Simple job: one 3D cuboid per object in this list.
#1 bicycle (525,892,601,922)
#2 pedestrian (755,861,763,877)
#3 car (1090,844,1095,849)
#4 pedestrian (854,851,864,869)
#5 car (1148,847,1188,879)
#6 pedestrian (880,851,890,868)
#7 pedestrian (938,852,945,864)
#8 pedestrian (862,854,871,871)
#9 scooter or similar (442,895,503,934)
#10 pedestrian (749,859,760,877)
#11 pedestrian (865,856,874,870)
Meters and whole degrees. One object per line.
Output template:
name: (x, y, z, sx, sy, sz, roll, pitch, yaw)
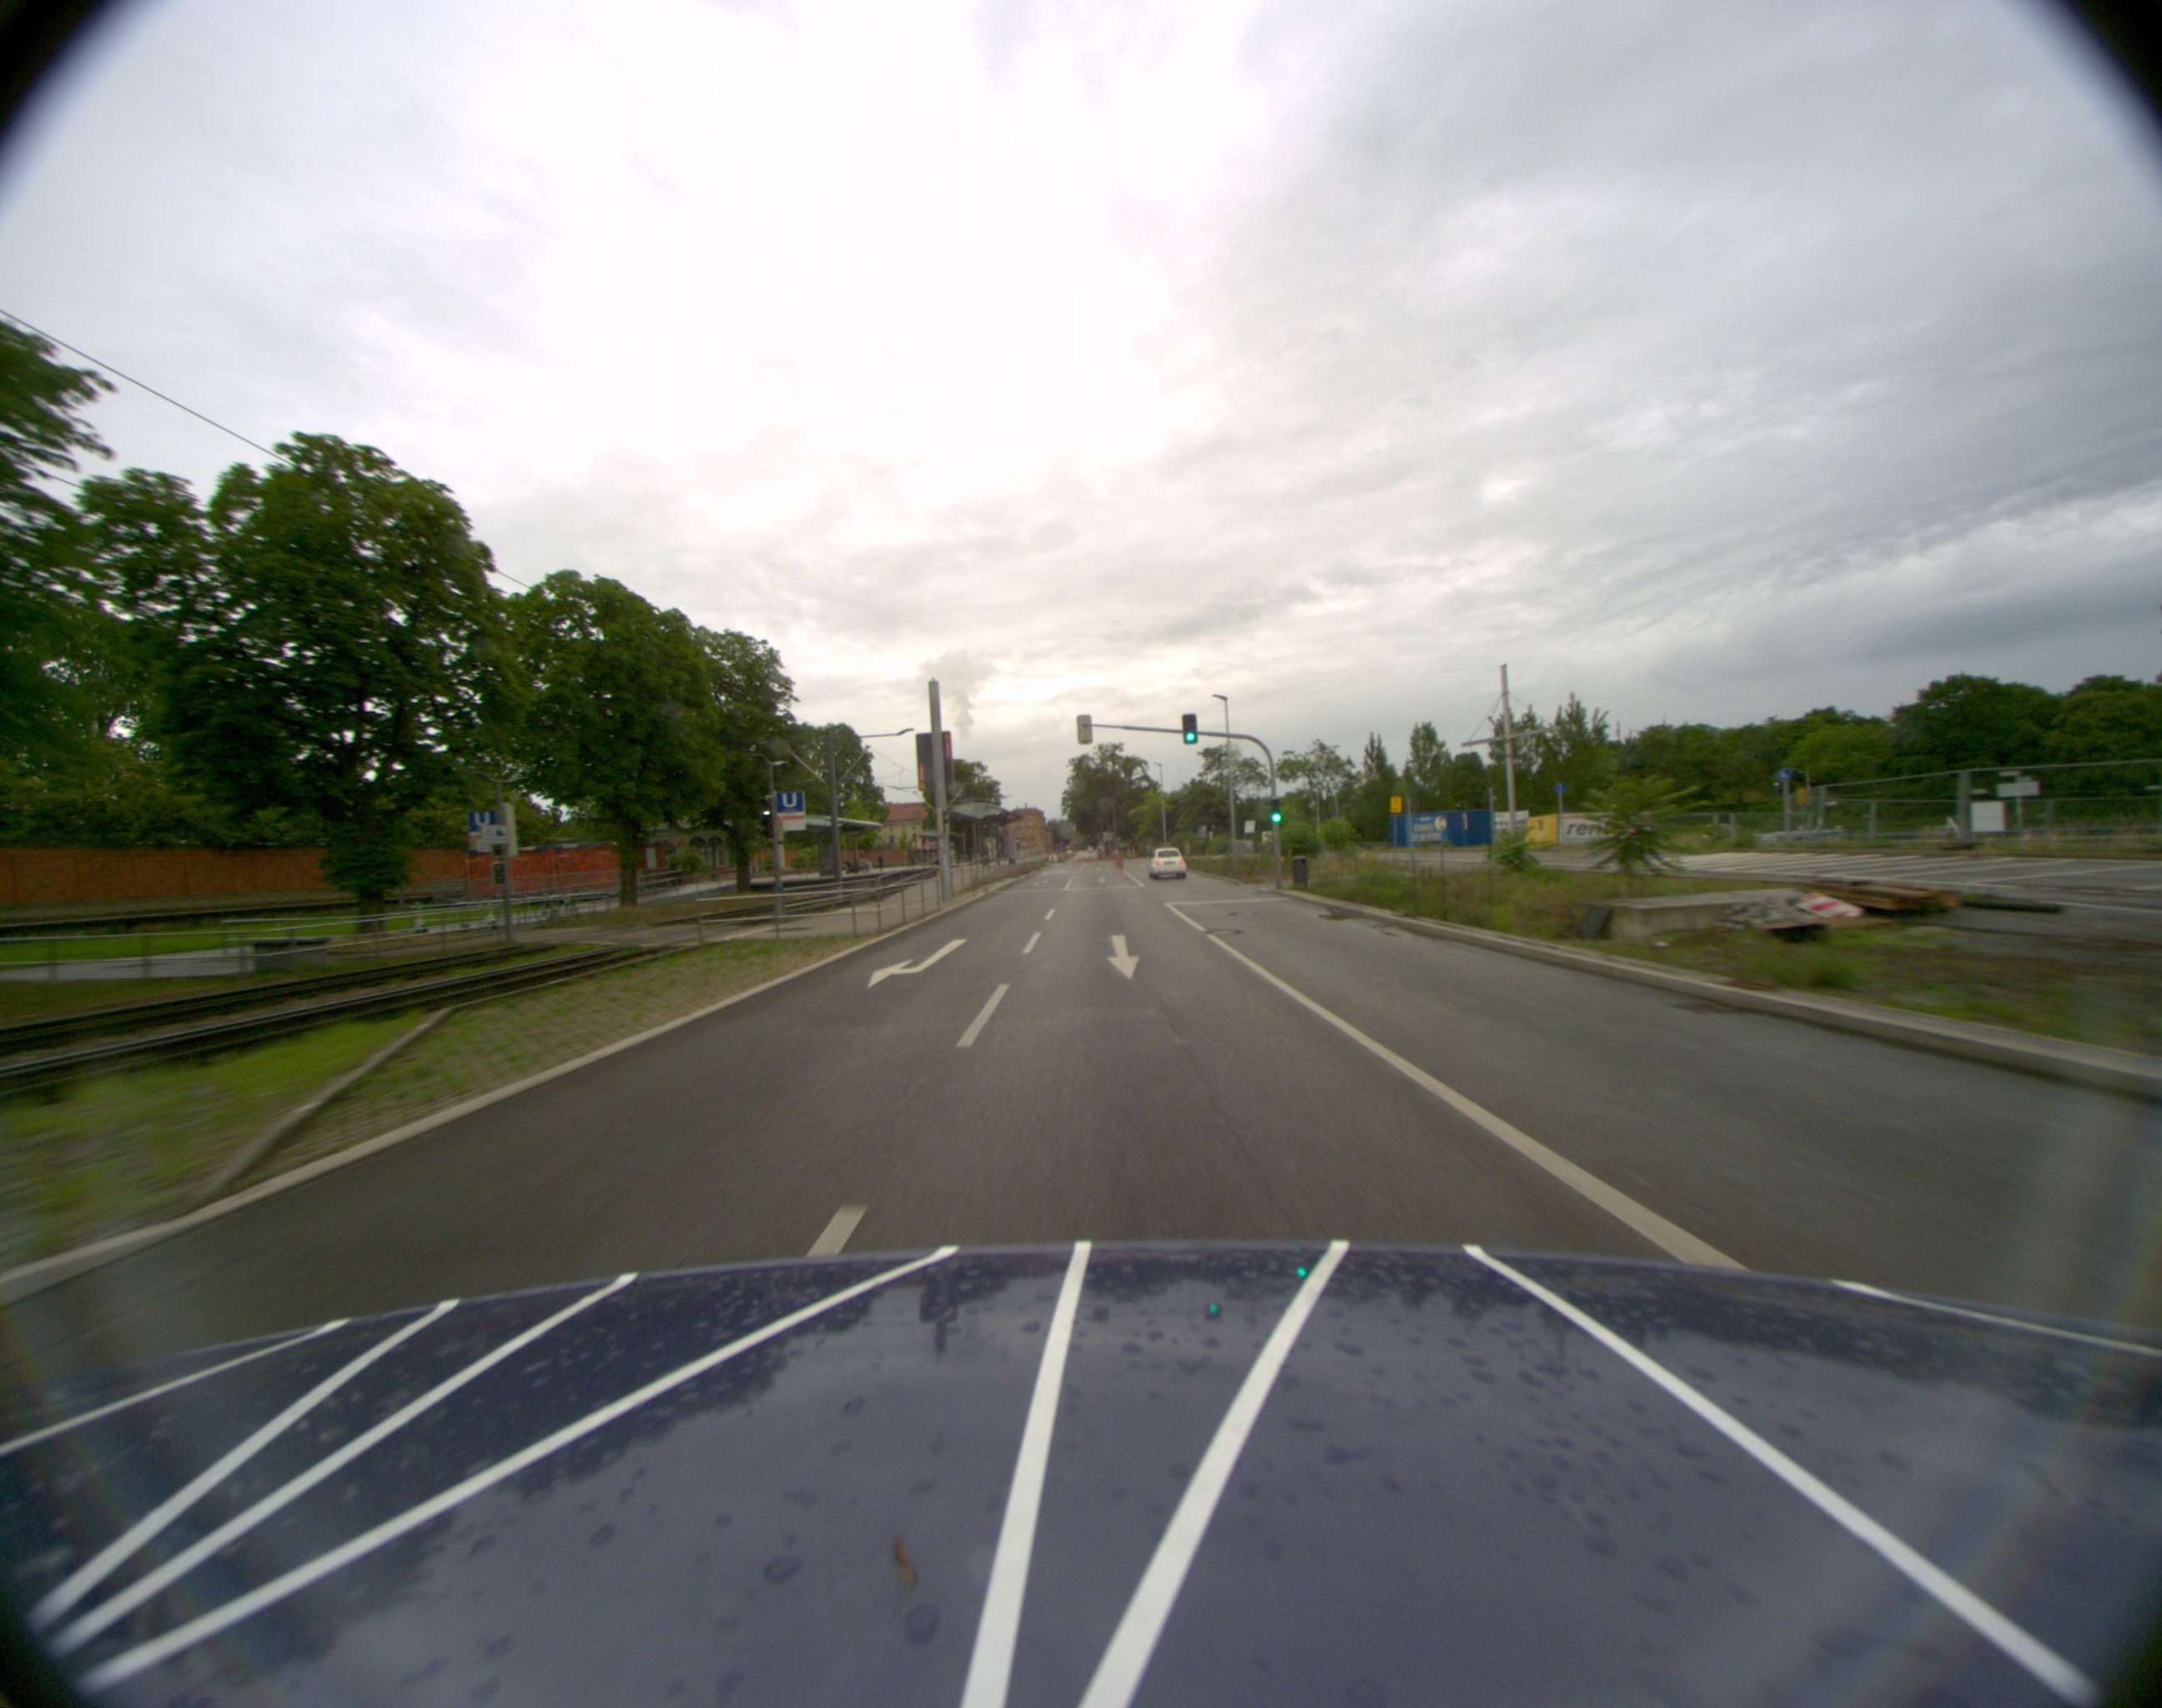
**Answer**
bicycle: (-19.057, 1.950, 27.973, 2.327, 0.951, 0.570, -3, 1, 0)
pedestrian: (-33.142, 1.553, 78.199, 0.550, 1.647, 0.470, -3, 2, 35)
car: (3.810, -2.606, 252.410, 1.713, 1.490, 4.719, -3, 1, 0)
pedestrian: (-16.257, 0.436, 55.664, 0.438, 1.219, 0.551, -3, 1, 2)
car: (4.373, 0.430, 38.562, 1.591, 1.483, 3.714, -2, 1, 1)
pedestrian: (-20.911, 0.609, 81.112, 0.722, 1.780, 1.182, -2, 1, 2)
pedestrian: (-15.641, 0.473, 84.948, 0.520, 1.206, 0.782, -8, 2, -3)
pedestrian: (-15.716, 0.593, 55.744, 0.438, 1.219, 0.551, -3, 1, 2)
scooter or similar: (-19.528, 1.942, 24.385, 1.547, 1.130, 0.431, -3, 1, 0)
pedestrian: (-33.206, 1.409, 77.249, 0.532, 1.701, 0.695, -5, 3, 12)
pedestrian: (-15.776, 0.644, 56.631, 0.438, 1.003, 0.551, -3, 1, 2)
